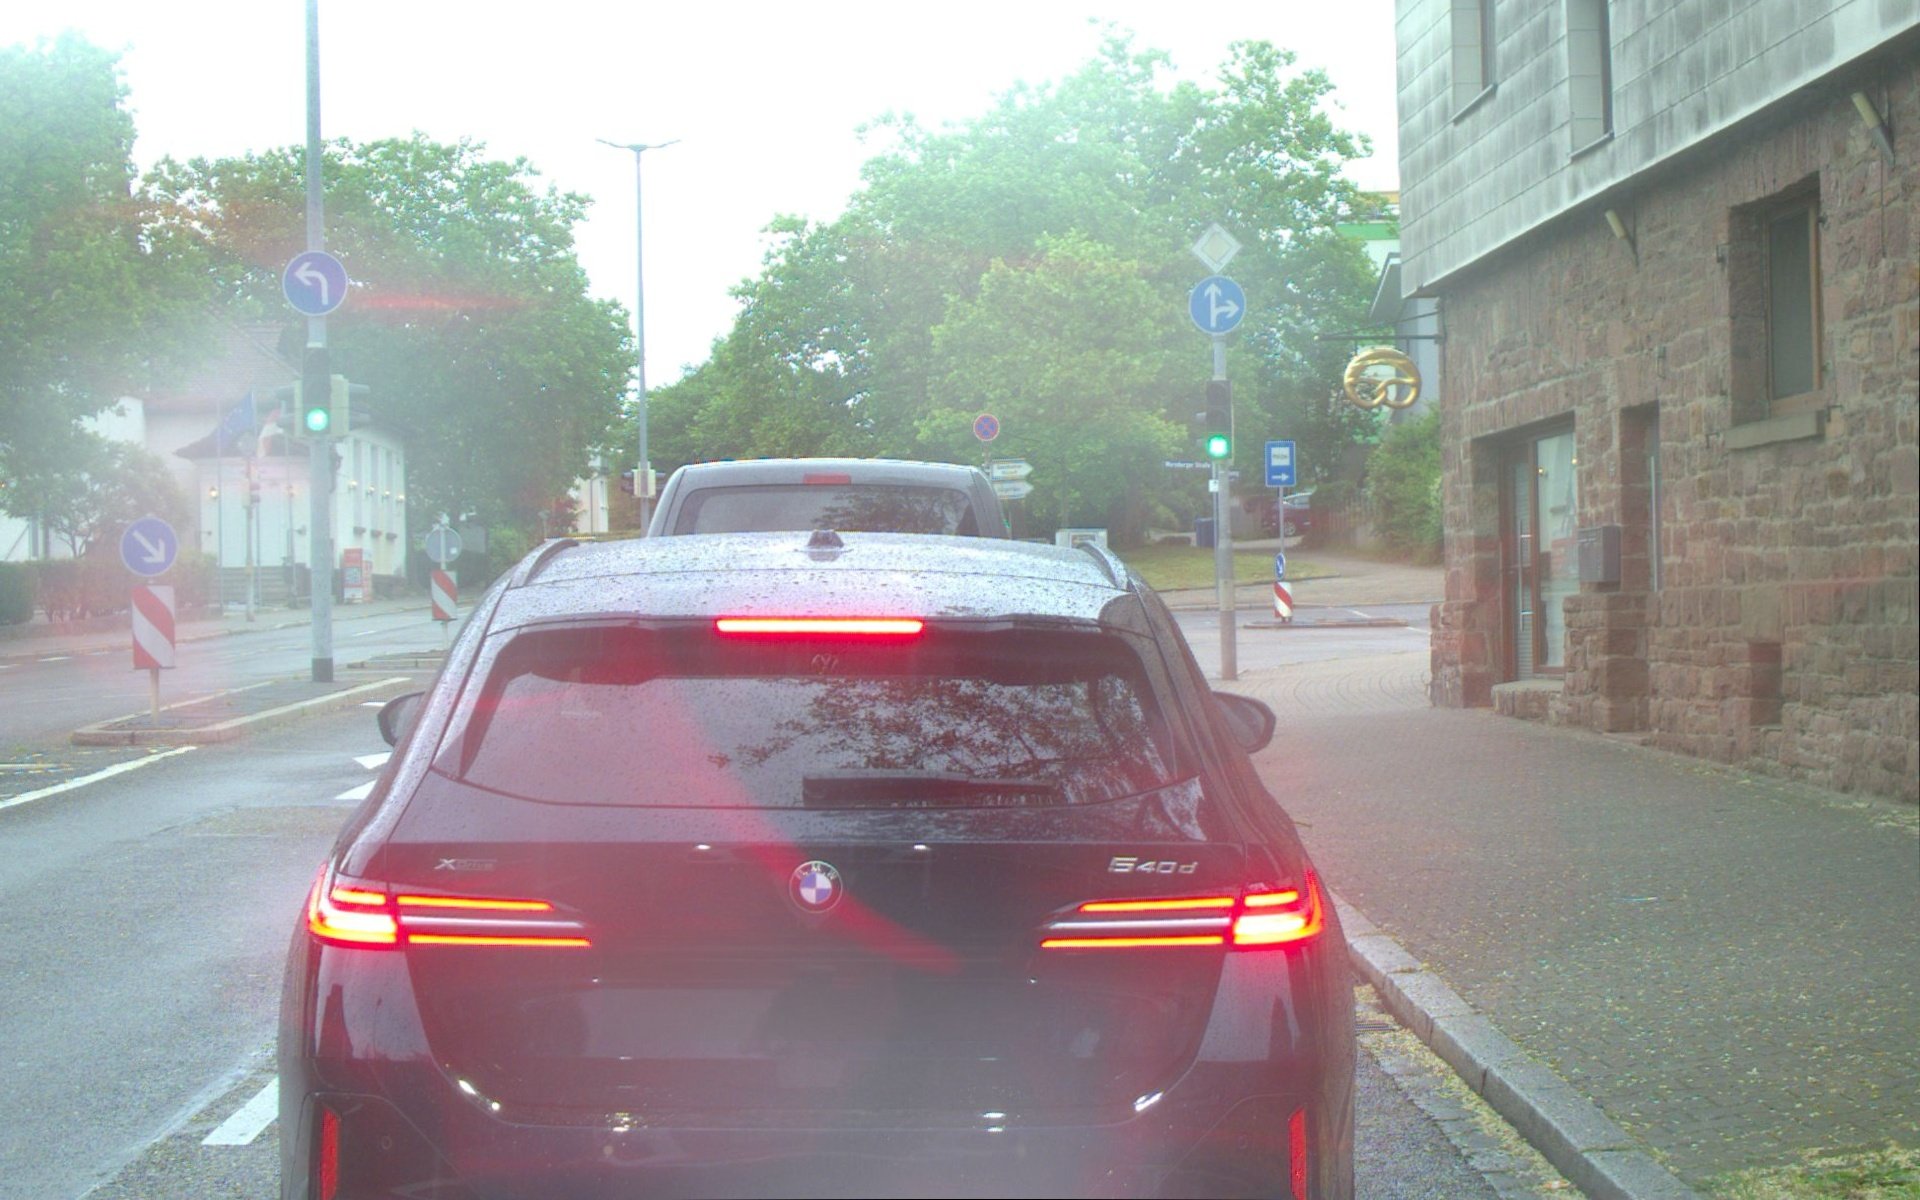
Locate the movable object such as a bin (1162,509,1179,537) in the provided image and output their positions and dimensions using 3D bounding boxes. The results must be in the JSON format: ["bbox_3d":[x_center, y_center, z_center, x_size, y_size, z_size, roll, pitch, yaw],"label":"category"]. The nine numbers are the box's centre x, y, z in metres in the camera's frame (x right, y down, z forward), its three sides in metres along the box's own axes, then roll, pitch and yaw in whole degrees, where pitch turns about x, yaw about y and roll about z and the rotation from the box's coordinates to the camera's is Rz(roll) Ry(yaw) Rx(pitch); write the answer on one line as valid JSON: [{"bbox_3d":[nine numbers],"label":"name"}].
[{"bbox_3d":[7.063,-2.578,115.271,0.450,0.902,0.462,1,0,15],"label":"movable object such as a bin"}]

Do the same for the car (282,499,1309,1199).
[{"bbox_3d":[-0.352,0.607,6.915,1.523,1.529,3.532,1,0,-4],"label":"car"}]

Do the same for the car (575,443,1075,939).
[{"bbox_3d":[-0.607,0.320,14.496,1.812,1.802,3.757,1,0,-4],"label":"car"}]

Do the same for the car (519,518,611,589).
[{"bbox_3d":[-9.350,-1.129,81.579,1.898,1.572,4.503,-1,2,-4],"label":"car"}]
